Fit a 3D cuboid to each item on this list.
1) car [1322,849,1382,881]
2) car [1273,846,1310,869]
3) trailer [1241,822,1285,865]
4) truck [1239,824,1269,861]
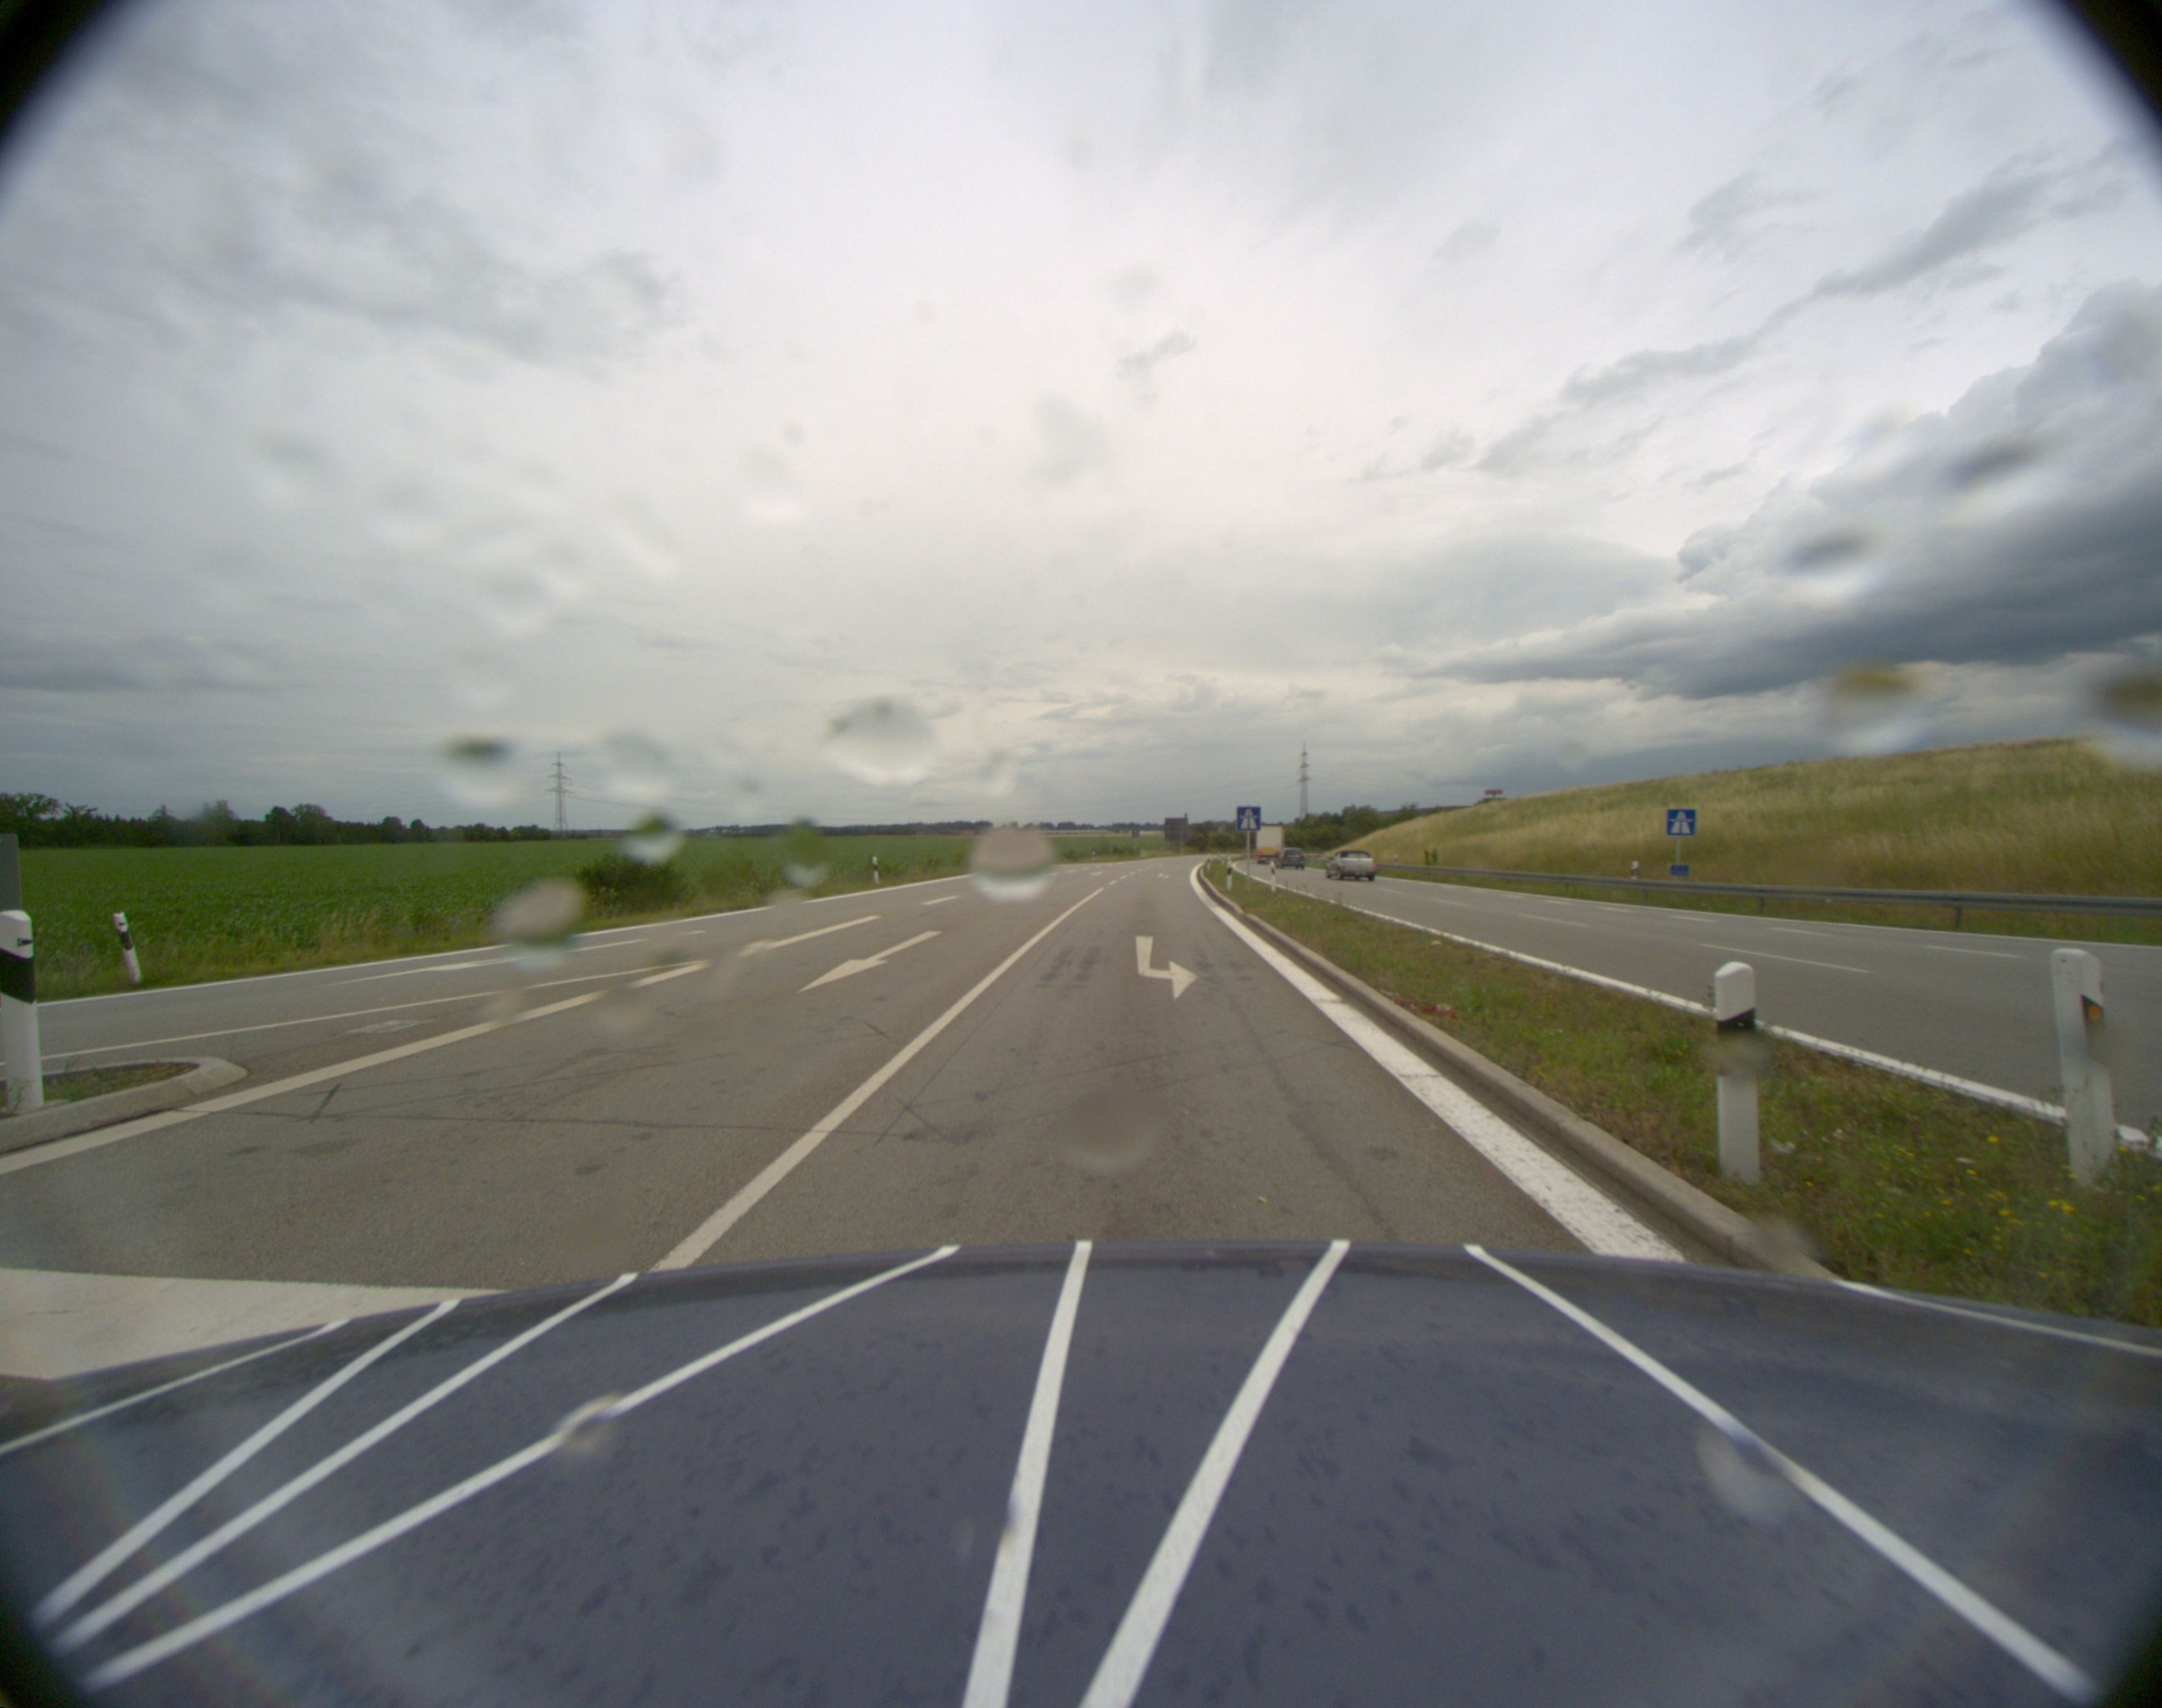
[{"bbox_3d":[13.610,0.509,38.381,1.814,1.511,4.243,-1,0,4],"label":"car"},{"bbox_3d":[16.642,0.210,60.276,1.998,1.684,4.455,0,2,4],"label":"car"},{"bbox_3d":[19.472,-1.210,82.155,2.697,4.187,13.843,0,2,6],"label":"trailer"},{"bbox_3d":[20.145,-1.386,88.807,2.655,4.118,6.404,0,2,6],"label":"truck"}]
